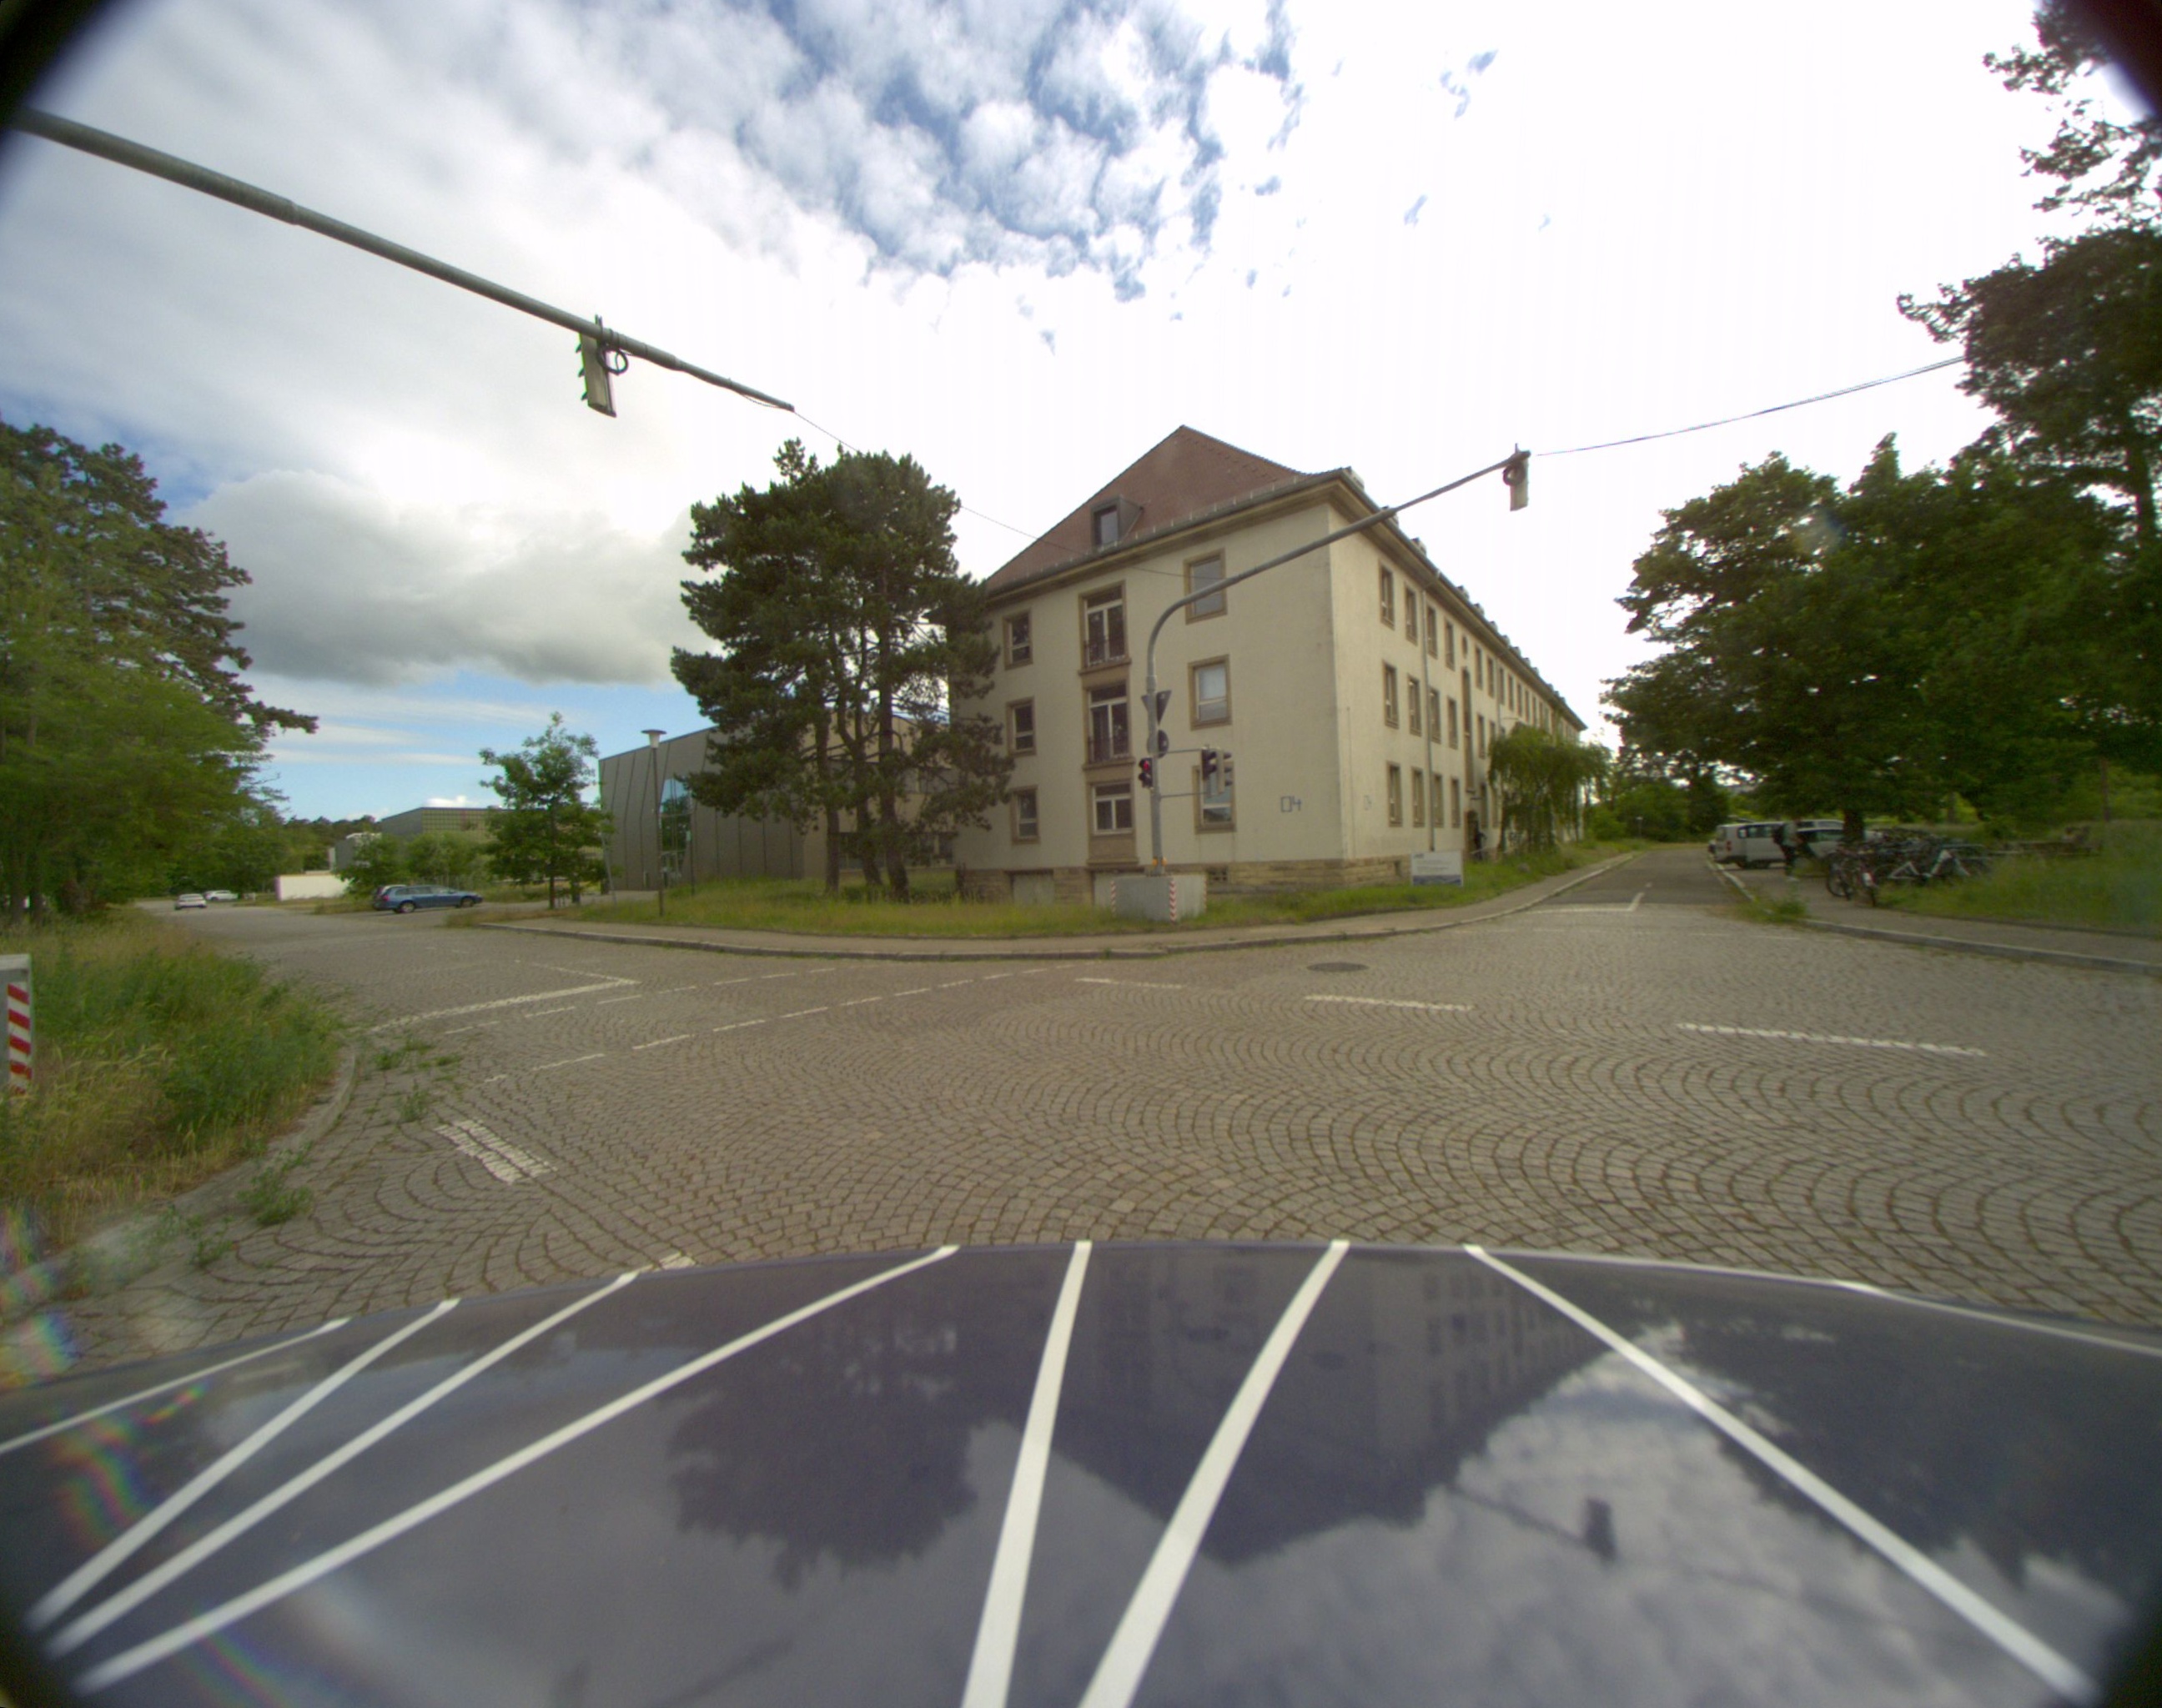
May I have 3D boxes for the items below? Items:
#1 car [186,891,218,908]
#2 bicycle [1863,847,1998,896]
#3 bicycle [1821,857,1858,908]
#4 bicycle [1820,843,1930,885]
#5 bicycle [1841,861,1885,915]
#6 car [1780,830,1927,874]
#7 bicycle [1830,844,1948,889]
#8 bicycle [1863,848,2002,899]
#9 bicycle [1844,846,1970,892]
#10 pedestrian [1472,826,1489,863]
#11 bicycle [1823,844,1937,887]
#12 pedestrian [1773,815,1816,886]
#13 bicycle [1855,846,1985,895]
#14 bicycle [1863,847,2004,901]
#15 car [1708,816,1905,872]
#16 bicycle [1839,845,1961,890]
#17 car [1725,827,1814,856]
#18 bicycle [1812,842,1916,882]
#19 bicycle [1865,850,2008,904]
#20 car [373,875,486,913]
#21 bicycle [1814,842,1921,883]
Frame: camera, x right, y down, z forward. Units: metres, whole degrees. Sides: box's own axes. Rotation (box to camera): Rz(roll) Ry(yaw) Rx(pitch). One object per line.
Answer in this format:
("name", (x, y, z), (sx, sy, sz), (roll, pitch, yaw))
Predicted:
("car", (-85.163, 4.367, 73.571), (3.989, 1.516, 1.890), (-2, 0, 40))
("bicycle", (19.167, 0.407, 17.199), (1.946, 1.059, 0.564), (-2, 1, 37))
("bicycle", (15.693, 0.568, 15.714), (1.665, 0.968, 0.459), (-2, 1, -43))
("bicycle", (21.103, 0.271, 20.252), (1.946, 1.059, 0.564), (-2, 1, 37))
("bicycle", (14.622, 0.621, 14.234), (0.459, 0.903, 1.666), (-2, 1, 42))
("car", (27.532, -0.051, 27.259), (3.432, 1.440, 1.917), (-2, 0, 37))
("bicycle", (20.253, 0.326, 19.092), (1.946, 1.059, 0.564), (-2, 1, 37))
("bicycle", (18.697, 0.435, 16.745), (1.946, 1.059, 0.564), (-2, 1, 37))
("bicycle", (19.674, 0.365, 18.161), (1.946, 1.059, 0.564), (-2, 1, 37))
("pedestrian", (18.548, -0.443, 35.285), (0.567, 1.691, 0.533), (-2, 1, 42))
("bicycle", (20.642, 0.300, 19.689), (1.946, 1.059, 0.564), (-2, 1, 37))
("pedestrian", (19.971, -0.088, 21.278), (0.791, 1.926, 0.589), (-2, 1, 39))
("bicycle", (19.403, 0.390, 17.633), (1.946, 1.059, 0.564), (-2, 1, 37))
("bicycle", (18.304, 0.434, 16.381), (1.946, 1.104, 0.564), (-2, 1, 37))
("car", (29.036, -0.373, 30.713), (5.353, 1.987, 2.295), (-2, 0, 31))
("bicycle", (19.993, 0.345, 18.599), (1.946, 1.059, 0.564), (-2, 1, 37))
("car", (37.403, -0.683, 41.395), (3.432, 1.440, 1.917), (-2, 0, 37))
("bicycle", (21.869, 0.222, 21.277), (1.946, 1.059, 0.564), (-2, 1, 37))
("bicycle", (17.916, 0.481, 15.981), (1.894, 1.059, 0.618), (-2, 1, 37))
("car", (-36.688, 2.188, 42.897), (1.994, 1.820, 4.485), (-2, 0, 38))
("bicycle", (21.490, 0.246, 20.811), (1.946, 1.059, 0.564), (-2, 1, 37))
